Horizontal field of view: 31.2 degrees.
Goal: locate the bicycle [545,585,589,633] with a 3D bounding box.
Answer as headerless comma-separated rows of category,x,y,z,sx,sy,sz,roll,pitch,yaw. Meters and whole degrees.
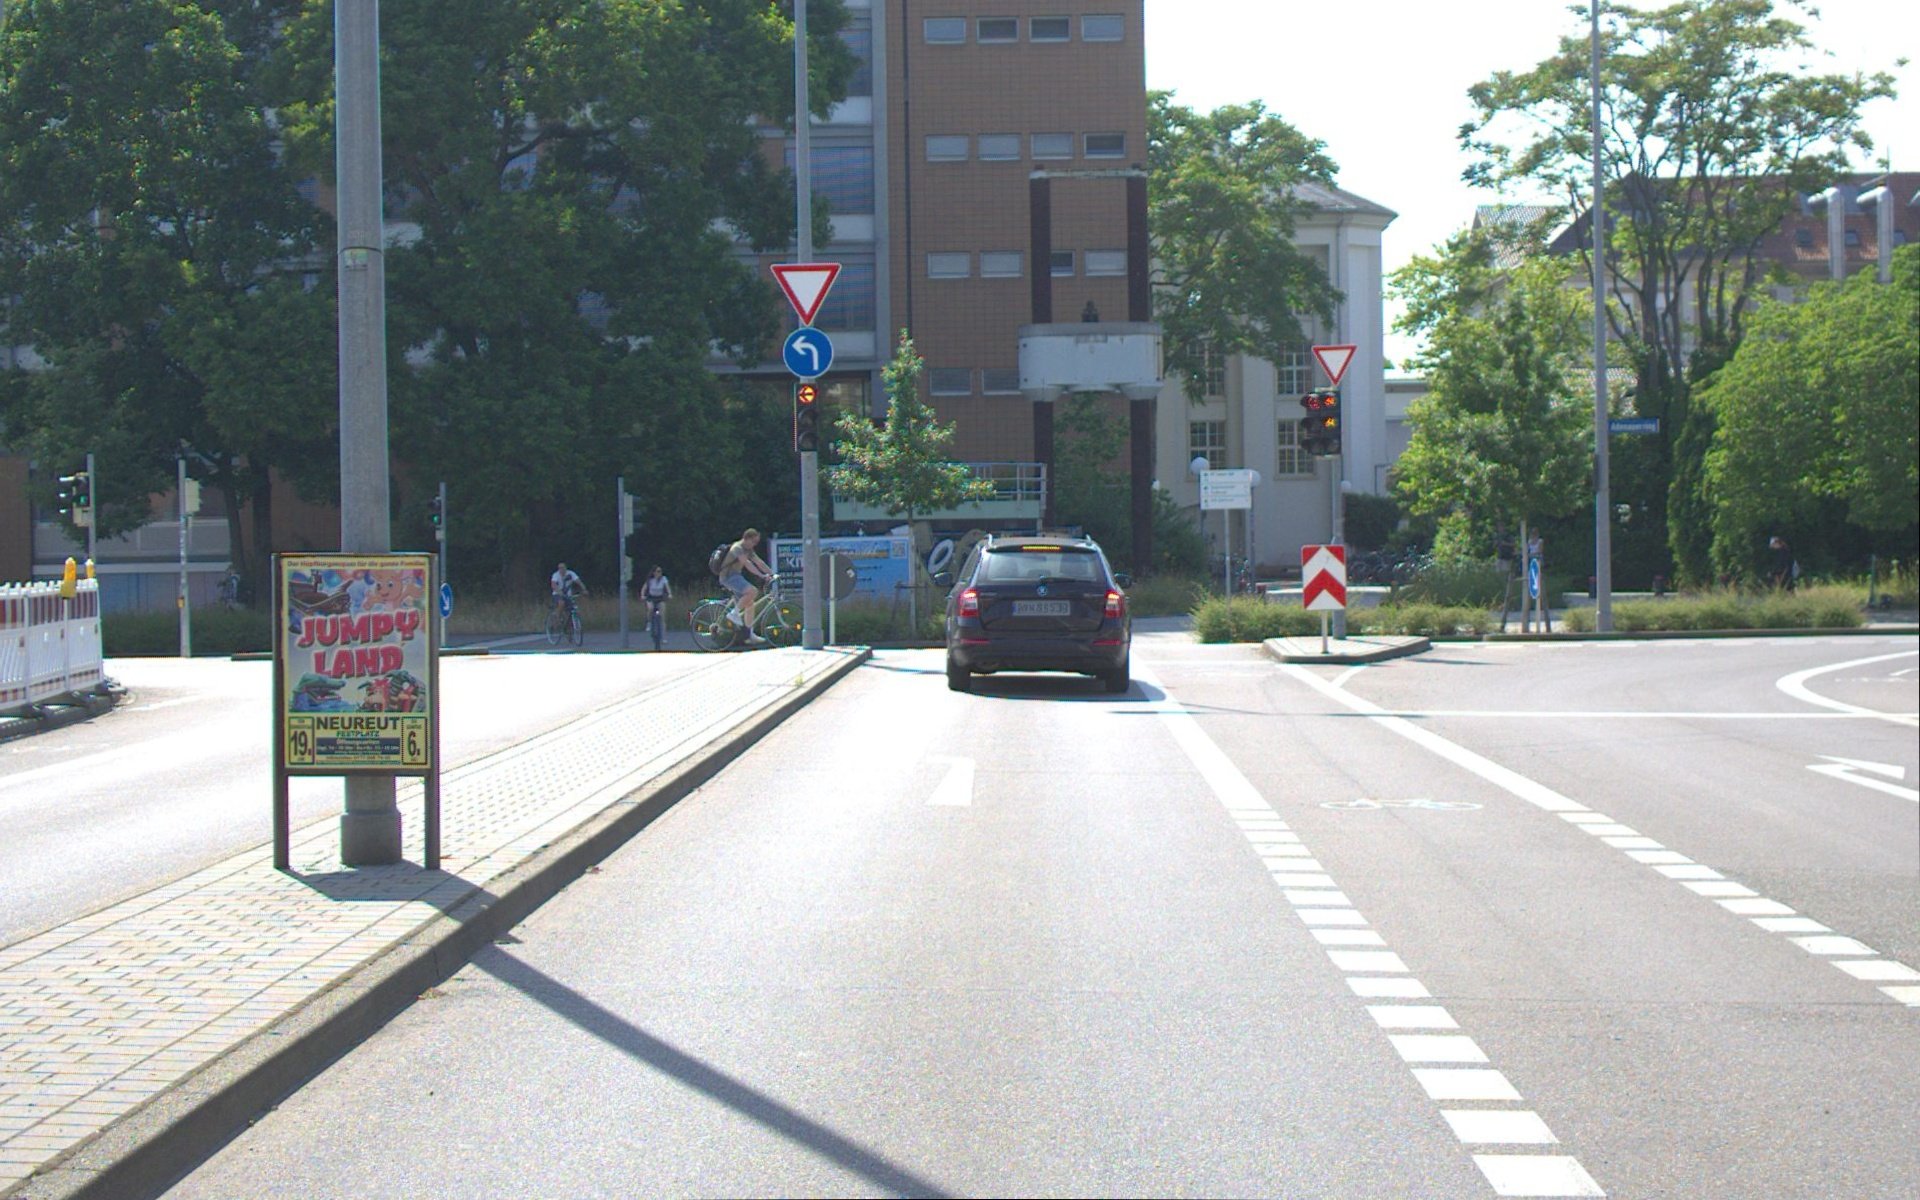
bicycle,-8.285,0.182,72.542,0.704,0.974,2.031,-1,1,-1

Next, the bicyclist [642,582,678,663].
bicyclist,-6.030,0.444,69.142,0.618,1.576,1.014,-3,1,-3

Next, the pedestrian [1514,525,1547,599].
pedestrian,14.574,-0.972,87.838,0.637,1.868,0.796,-3,1,1

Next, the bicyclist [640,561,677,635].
bicyclist,-6.058,-0.042,69.123,0.618,1.438,0.921,-3,1,-3

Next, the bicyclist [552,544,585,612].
bicyclist,-8.288,-0.467,72.735,0.539,1.412,1.030,-2,0,0

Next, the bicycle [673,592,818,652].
bicycle,-2.951,0.299,47.240,1.891,0.790,0.560,-1,2,14

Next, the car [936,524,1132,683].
car,0.734,-0.001,33.456,1.780,1.438,3.818,1,1,2

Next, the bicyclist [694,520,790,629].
bicyclist,-2.995,-0.356,47.247,1.166,1.469,0.564,-1,1,14

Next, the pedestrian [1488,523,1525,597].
pedestrian,14.114,-1.030,88.783,0.794,1.868,0.638,-2,1,16

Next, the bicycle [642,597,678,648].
bicycle,-6.030,0.444,69.130,0.618,0.957,1.968,-3,1,-3
